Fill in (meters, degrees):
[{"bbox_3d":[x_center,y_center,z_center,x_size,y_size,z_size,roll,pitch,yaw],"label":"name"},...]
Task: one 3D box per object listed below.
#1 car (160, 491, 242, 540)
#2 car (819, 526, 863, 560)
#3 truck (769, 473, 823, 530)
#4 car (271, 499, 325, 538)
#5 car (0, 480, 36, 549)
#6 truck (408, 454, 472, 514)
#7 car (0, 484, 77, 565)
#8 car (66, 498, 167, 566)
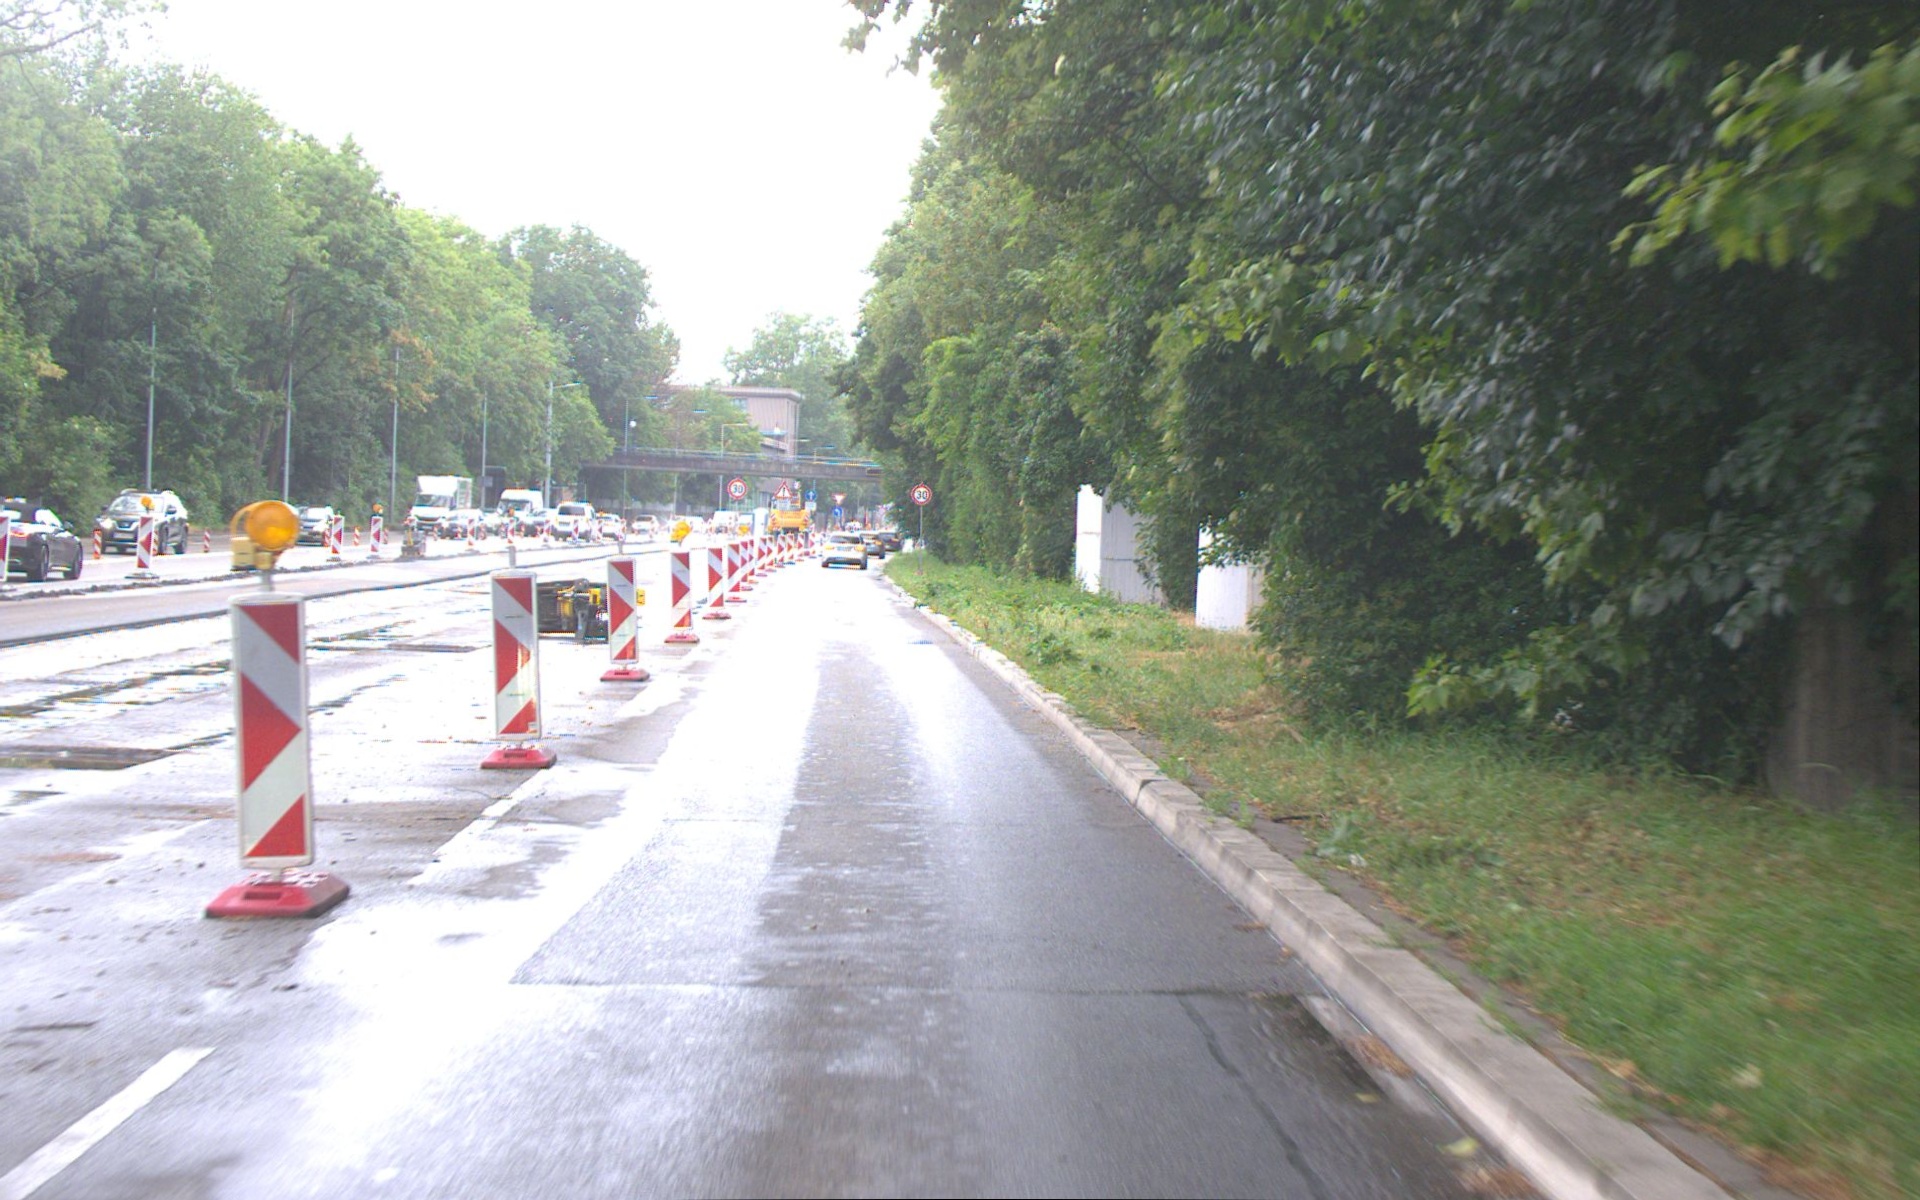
[{"bbox_3d":[-24.420,-2.730,110.730,1.760,1.478,4.901,1,2,-3],"label":"car"},{"bbox_3d":[-4.799,-2.298,138.959,1.697,1.331,3.491,-1,1,-1],"label":"car"},{"bbox_3d":[-10.679,-6.444,224.833,3.259,3.485,13.872,2,2,-2],"label":"truck"},{"bbox_3d":[-23.529,-2.900,122.301,1.447,1.327,3.862,1,2,-4],"label":"car"},{"bbox_3d":[-21.610,-1.896,75.047,1.760,1.478,4.901,1,2,-3],"label":"car"},{"bbox_3d":[-26.385,-5.884,174.674,2.246,2.930,6.936,2,2,-1],"label":"truck"},{"bbox_3d":[-17.341,-1.397,62.585,1.607,1.399,4.042,2,2,-2],"label":"car"},{"bbox_3d":[-22.475,-1.824,91.712,1.734,1.716,4.494,2,1,-3],"label":"car"}]
